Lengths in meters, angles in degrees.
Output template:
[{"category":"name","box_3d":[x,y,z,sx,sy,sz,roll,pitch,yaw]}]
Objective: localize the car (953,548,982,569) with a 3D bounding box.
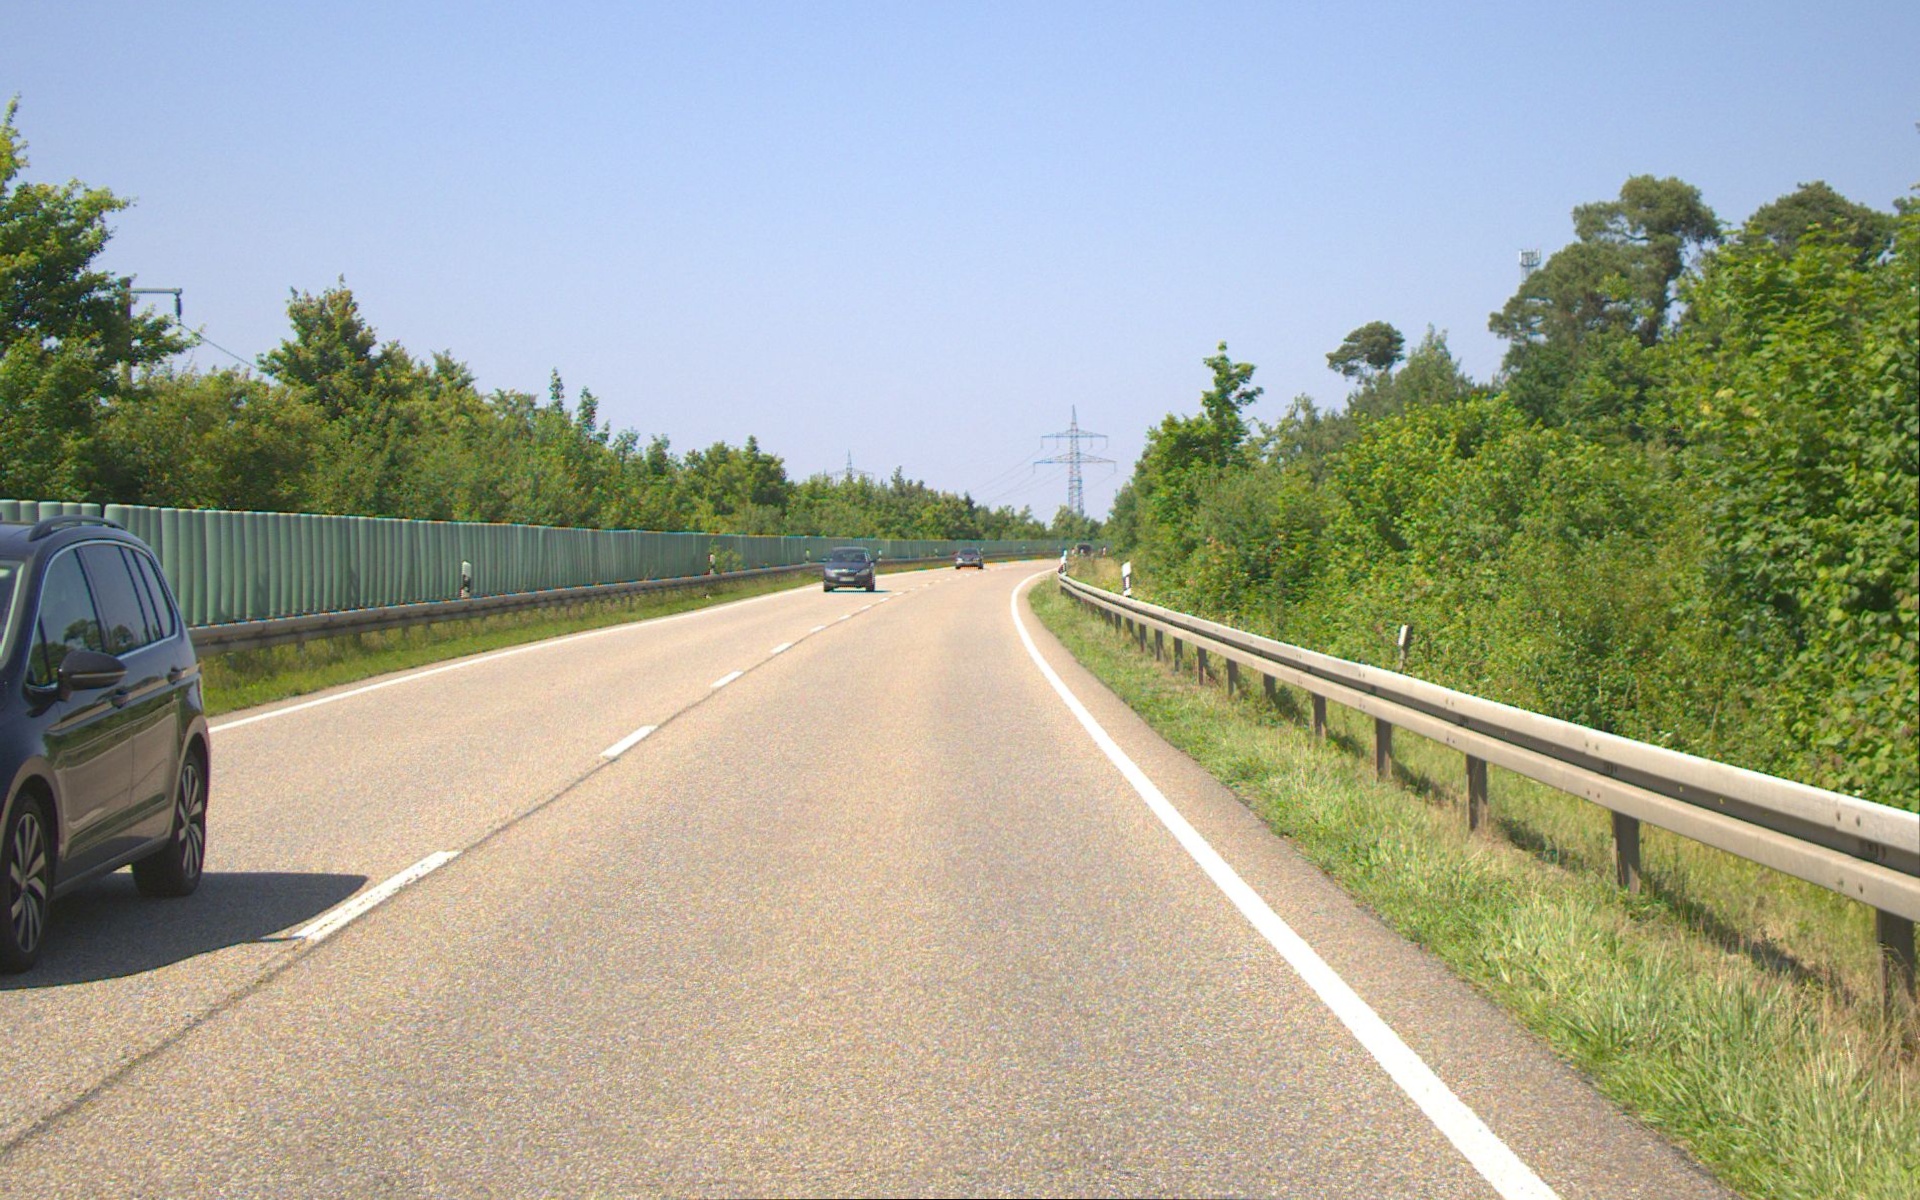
[{"category":"car","box_3d":[0.515,-2.769,229.938,1.787,1.367,3.897,0,2,2]}]

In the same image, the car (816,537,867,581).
[{"category":"car","box_3d":[-4.002,-1.397,116.677,1.648,1.474,3.677,0,1,-1]}]

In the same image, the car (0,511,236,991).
[{"category":"car","box_3d":[-4.167,0.486,13.640,1.764,1.634,4.127,0,1,-1]}]
